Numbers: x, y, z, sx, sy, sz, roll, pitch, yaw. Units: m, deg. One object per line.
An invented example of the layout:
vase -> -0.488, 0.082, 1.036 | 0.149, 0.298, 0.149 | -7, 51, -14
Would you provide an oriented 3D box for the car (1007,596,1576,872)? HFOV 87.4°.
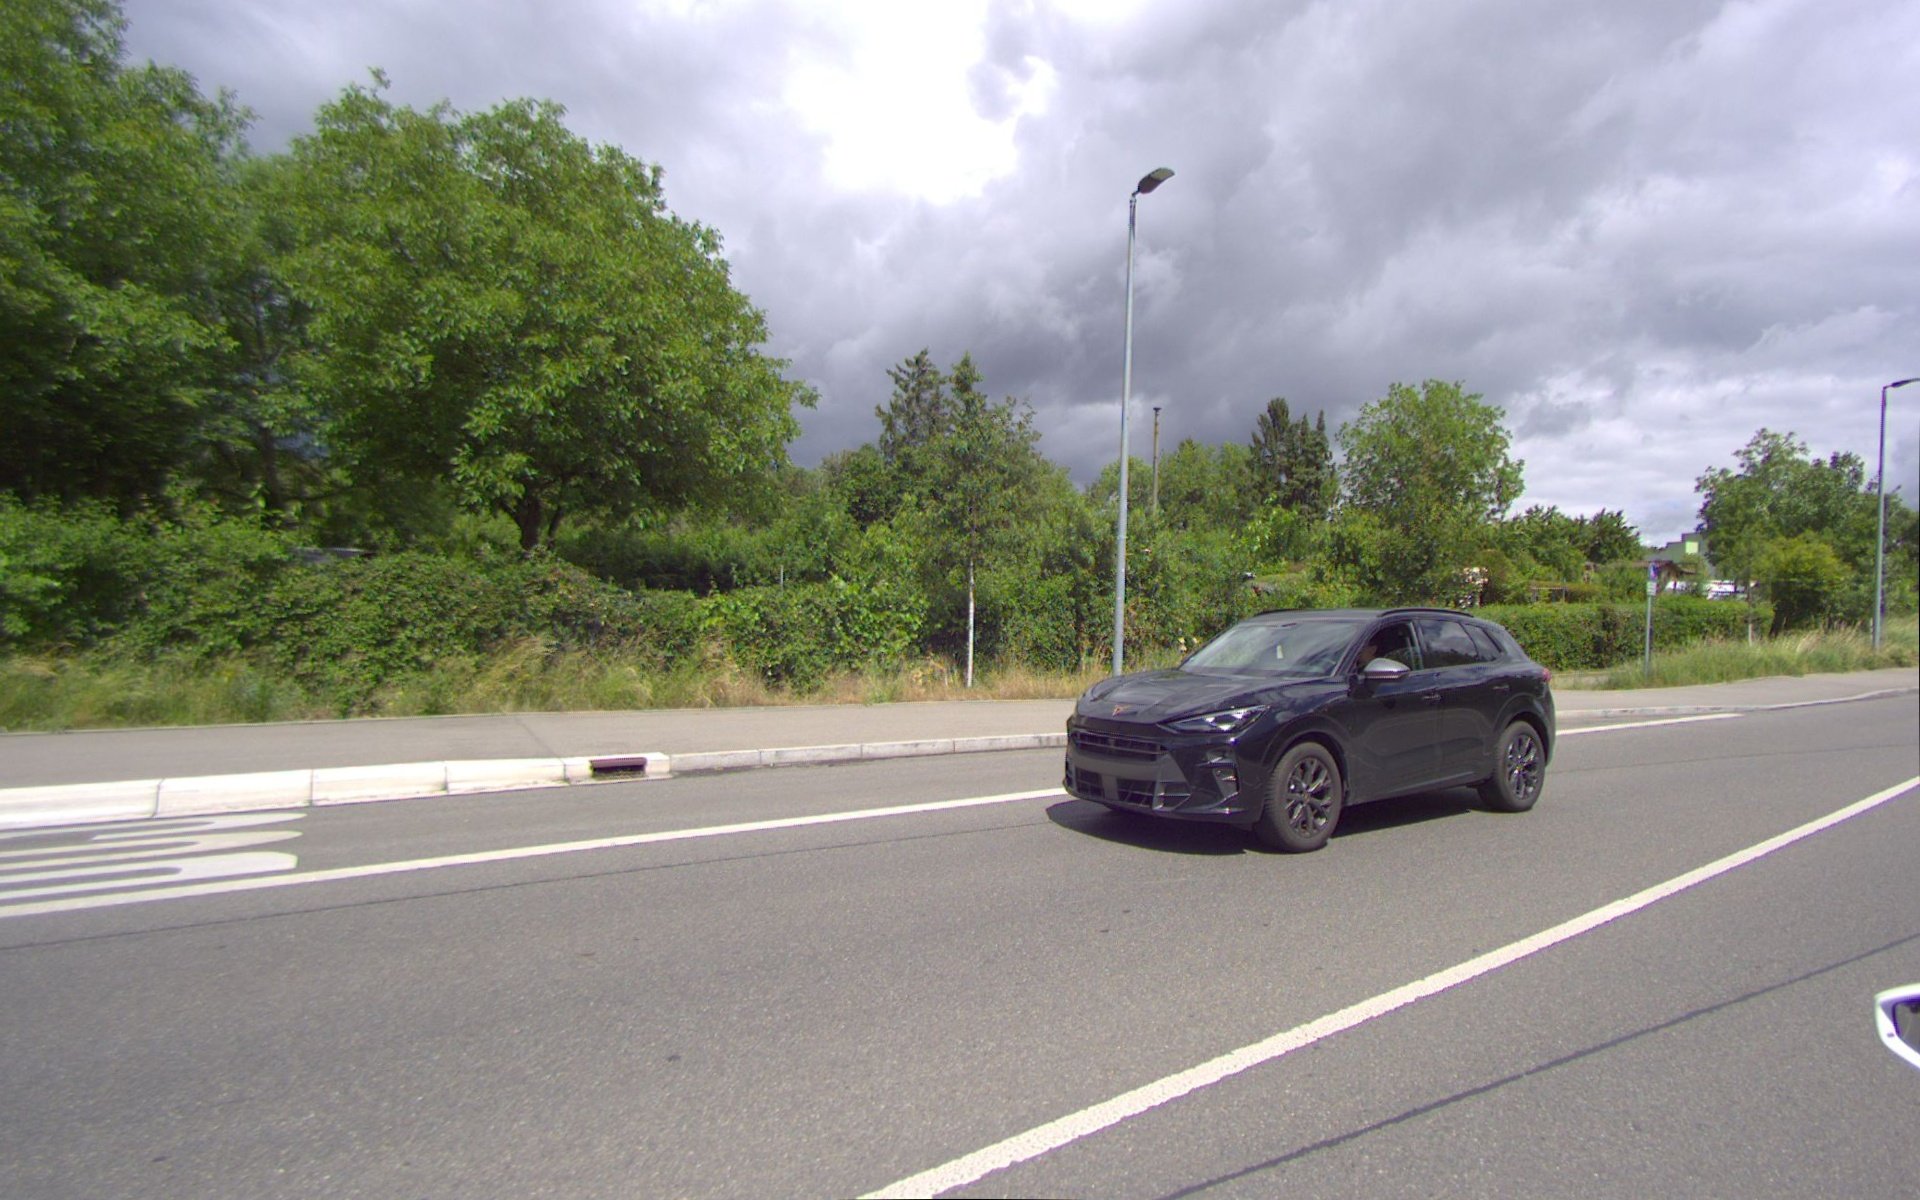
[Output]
car -> 2.728, 0.821, 7.814 | 4.581, 1.578, 1.811 | 1, -2, -34
